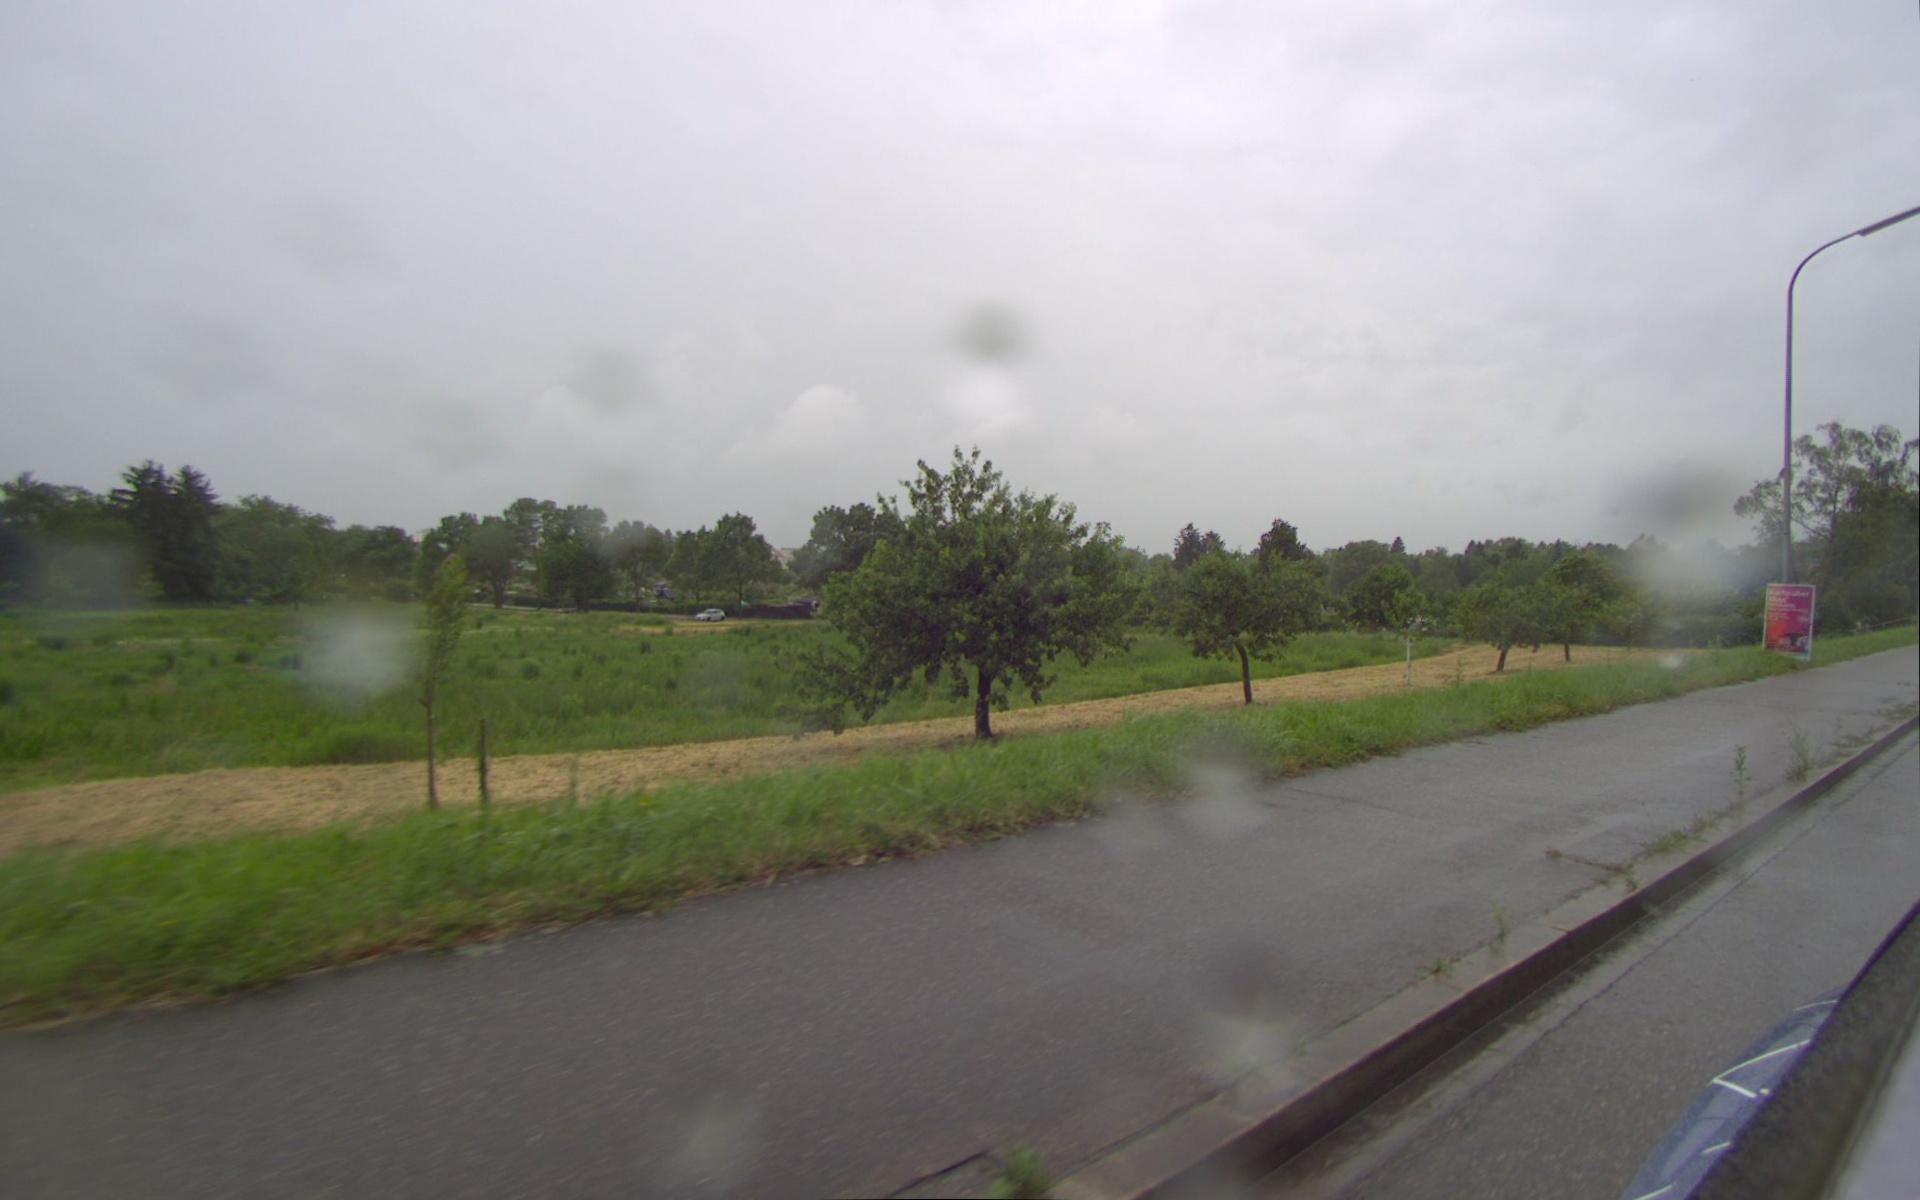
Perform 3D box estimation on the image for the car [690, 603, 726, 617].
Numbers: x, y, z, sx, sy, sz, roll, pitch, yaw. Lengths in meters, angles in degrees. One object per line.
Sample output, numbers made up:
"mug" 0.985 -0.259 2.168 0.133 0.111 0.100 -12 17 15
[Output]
"car" -29.759 1.183 119.742 1.785 1.529 4.121 -1 0 30
